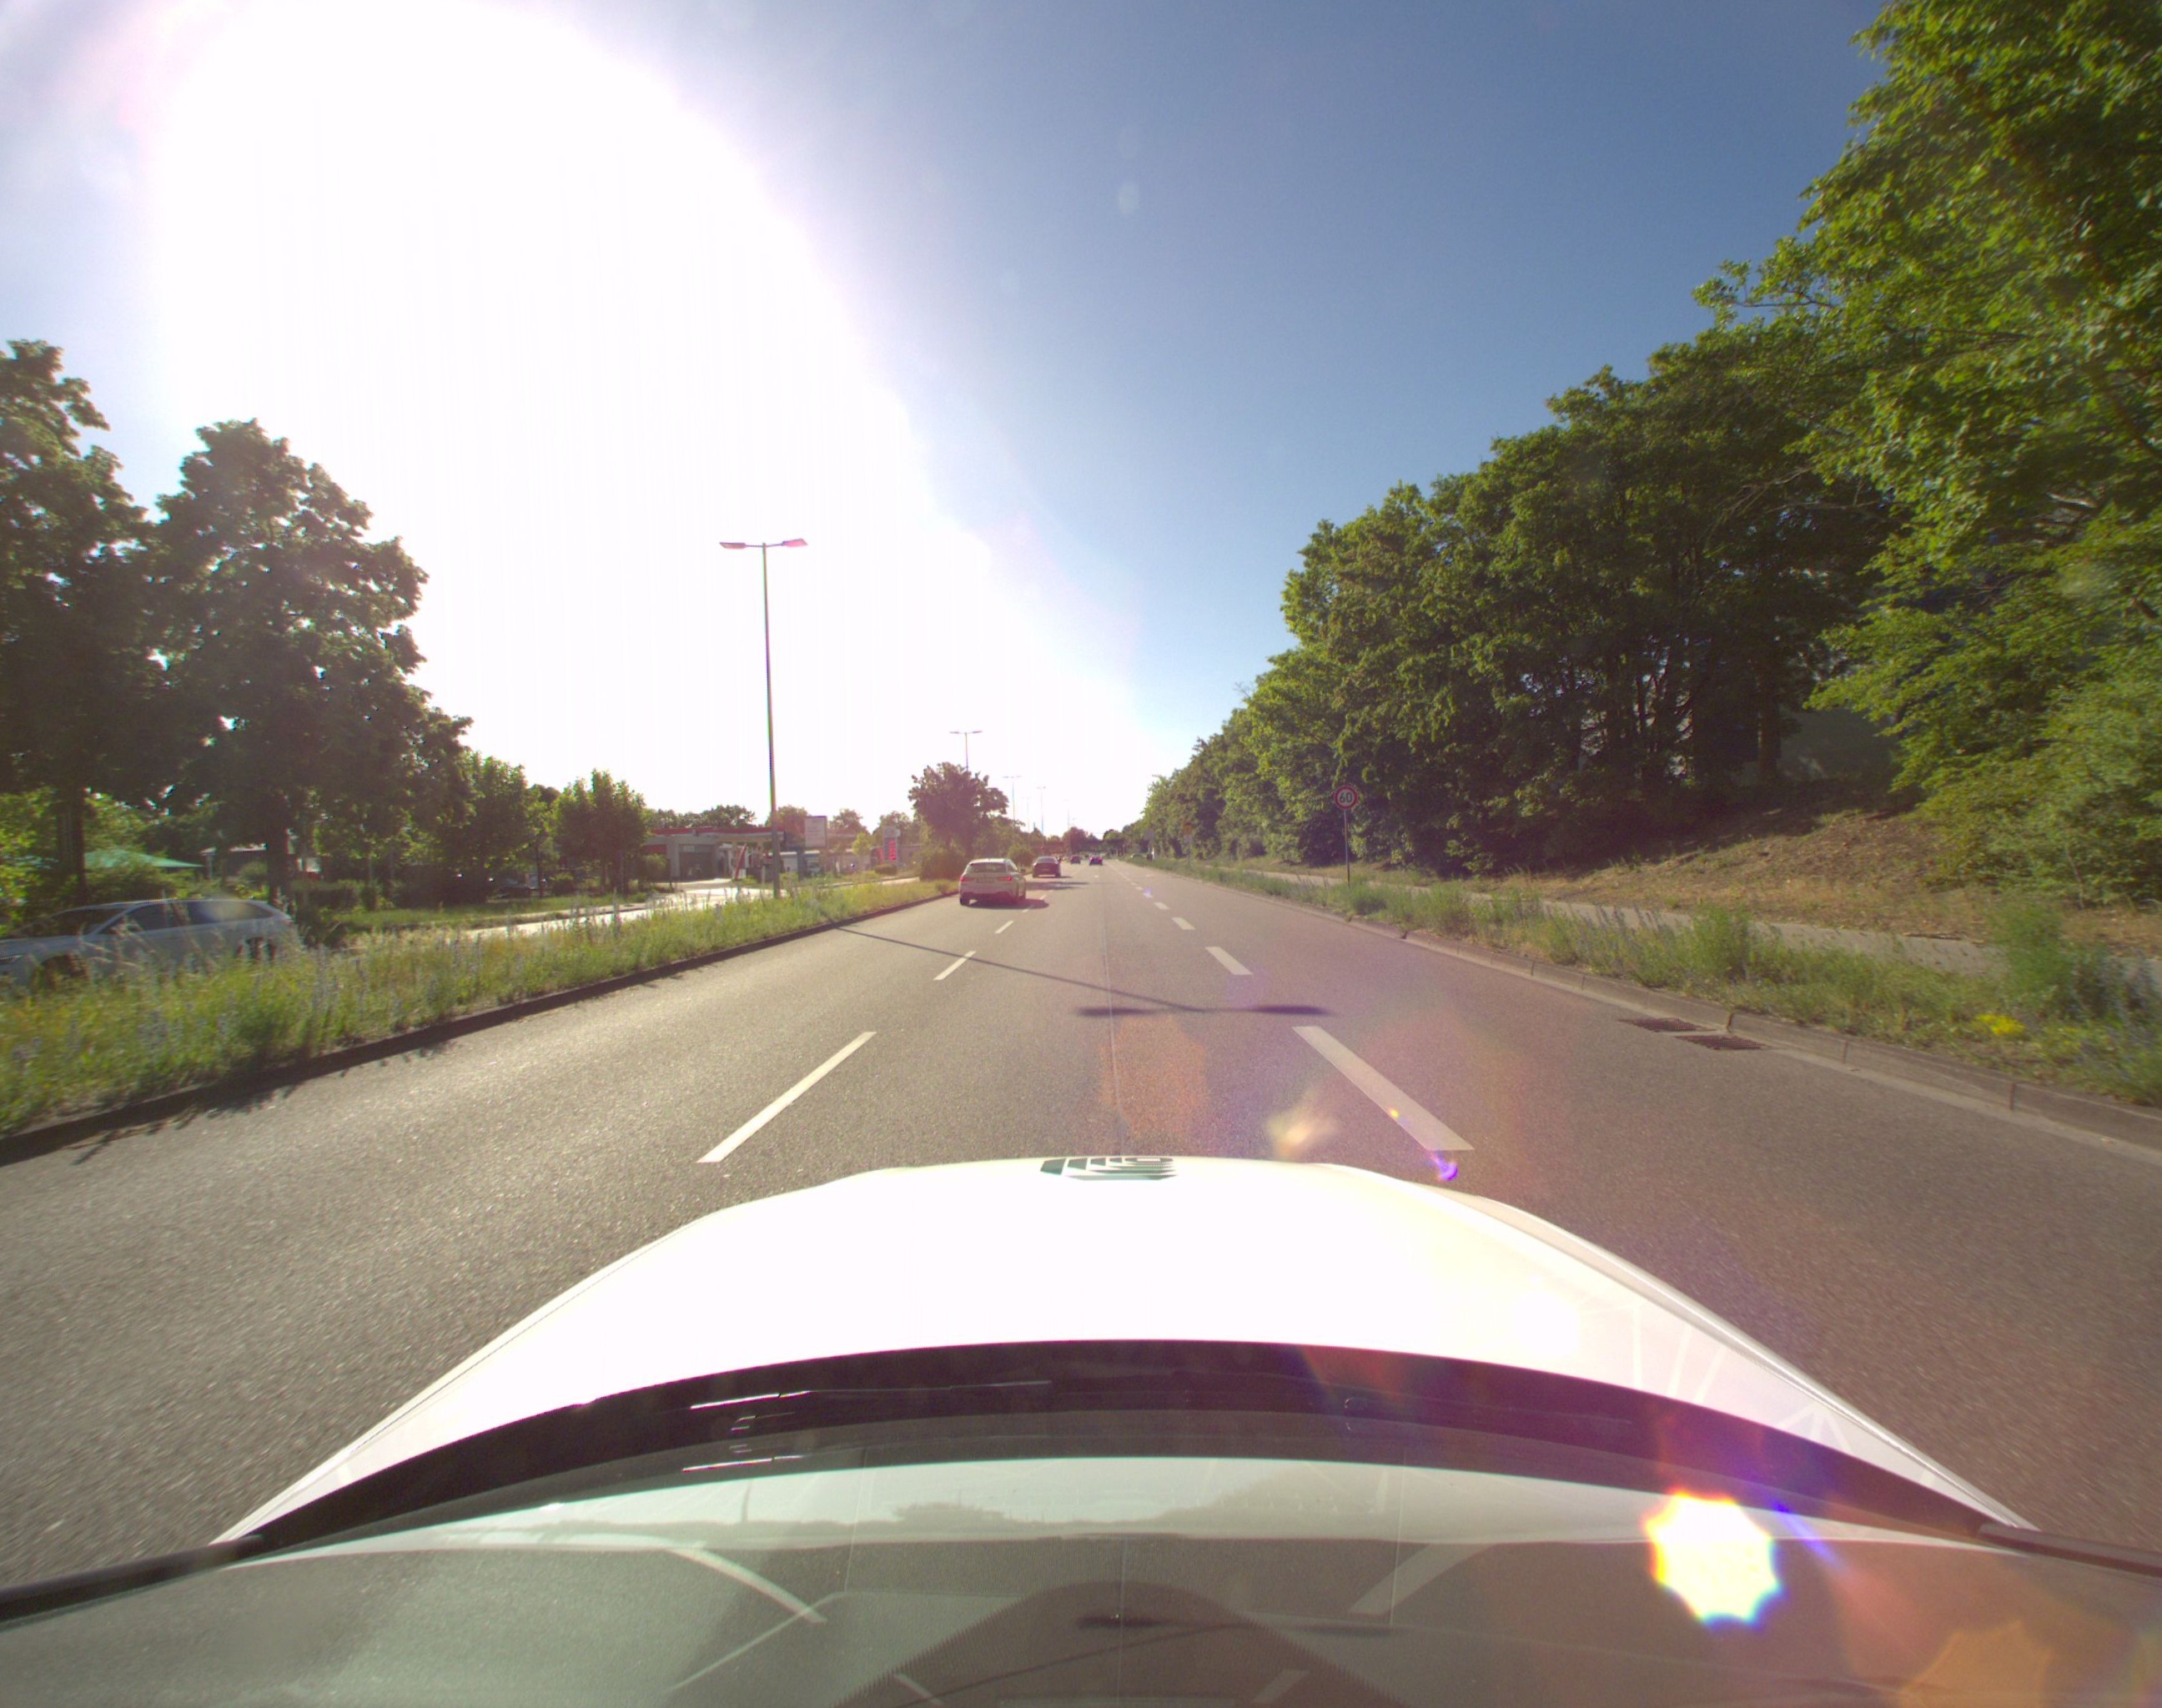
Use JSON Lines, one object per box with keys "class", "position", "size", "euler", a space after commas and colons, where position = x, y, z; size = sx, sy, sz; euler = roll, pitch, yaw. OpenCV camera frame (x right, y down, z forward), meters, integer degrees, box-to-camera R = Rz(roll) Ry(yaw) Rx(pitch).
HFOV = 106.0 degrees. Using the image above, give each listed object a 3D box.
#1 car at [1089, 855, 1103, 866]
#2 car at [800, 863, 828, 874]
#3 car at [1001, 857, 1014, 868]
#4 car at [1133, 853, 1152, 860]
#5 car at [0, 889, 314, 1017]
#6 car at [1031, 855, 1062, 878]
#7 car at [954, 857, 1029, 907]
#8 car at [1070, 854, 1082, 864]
{"class": "car", "position": [2.168, 0.863, 116.773], "size": [1.855, 1.499, 4.337], "euler": [-2, 0, 1]}
{"class": "car", "position": [-47.193, 2.572, 144.023], "size": [4.373, 1.842, 1.999], "euler": [-2, 0, -2]}
{"class": "car", "position": [-13.235, 1.559, 146.379], "size": [1.733, 1.802, 4.673], "euler": [-5, 0, 1]}
{"class": "car", "position": [12.298, 0.533, 162.657], "size": [3.418, 1.396, 1.450], "euler": [-2, 0, 33]}
{"class": "car", "position": [-15.686, 1.528, 13.338], "size": [1.749, 1.520, 4.531], "euler": [-5, 0, 1]}
{"class": "car", "position": [-2.388, 0.864, 57.310], "size": [1.855, 1.455, 4.548], "euler": [-2, 0, 1]}
{"class": "car", "position": [-2.845, 0.862, 26.853], "size": [1.855, 1.455, 4.548], "euler": [-1, 0, 1]}
{"class": "car", "position": [-0.835, 0.870, 142.497], "size": [1.855, 1.565, 4.548], "euler": [-2, 0, 1]}
